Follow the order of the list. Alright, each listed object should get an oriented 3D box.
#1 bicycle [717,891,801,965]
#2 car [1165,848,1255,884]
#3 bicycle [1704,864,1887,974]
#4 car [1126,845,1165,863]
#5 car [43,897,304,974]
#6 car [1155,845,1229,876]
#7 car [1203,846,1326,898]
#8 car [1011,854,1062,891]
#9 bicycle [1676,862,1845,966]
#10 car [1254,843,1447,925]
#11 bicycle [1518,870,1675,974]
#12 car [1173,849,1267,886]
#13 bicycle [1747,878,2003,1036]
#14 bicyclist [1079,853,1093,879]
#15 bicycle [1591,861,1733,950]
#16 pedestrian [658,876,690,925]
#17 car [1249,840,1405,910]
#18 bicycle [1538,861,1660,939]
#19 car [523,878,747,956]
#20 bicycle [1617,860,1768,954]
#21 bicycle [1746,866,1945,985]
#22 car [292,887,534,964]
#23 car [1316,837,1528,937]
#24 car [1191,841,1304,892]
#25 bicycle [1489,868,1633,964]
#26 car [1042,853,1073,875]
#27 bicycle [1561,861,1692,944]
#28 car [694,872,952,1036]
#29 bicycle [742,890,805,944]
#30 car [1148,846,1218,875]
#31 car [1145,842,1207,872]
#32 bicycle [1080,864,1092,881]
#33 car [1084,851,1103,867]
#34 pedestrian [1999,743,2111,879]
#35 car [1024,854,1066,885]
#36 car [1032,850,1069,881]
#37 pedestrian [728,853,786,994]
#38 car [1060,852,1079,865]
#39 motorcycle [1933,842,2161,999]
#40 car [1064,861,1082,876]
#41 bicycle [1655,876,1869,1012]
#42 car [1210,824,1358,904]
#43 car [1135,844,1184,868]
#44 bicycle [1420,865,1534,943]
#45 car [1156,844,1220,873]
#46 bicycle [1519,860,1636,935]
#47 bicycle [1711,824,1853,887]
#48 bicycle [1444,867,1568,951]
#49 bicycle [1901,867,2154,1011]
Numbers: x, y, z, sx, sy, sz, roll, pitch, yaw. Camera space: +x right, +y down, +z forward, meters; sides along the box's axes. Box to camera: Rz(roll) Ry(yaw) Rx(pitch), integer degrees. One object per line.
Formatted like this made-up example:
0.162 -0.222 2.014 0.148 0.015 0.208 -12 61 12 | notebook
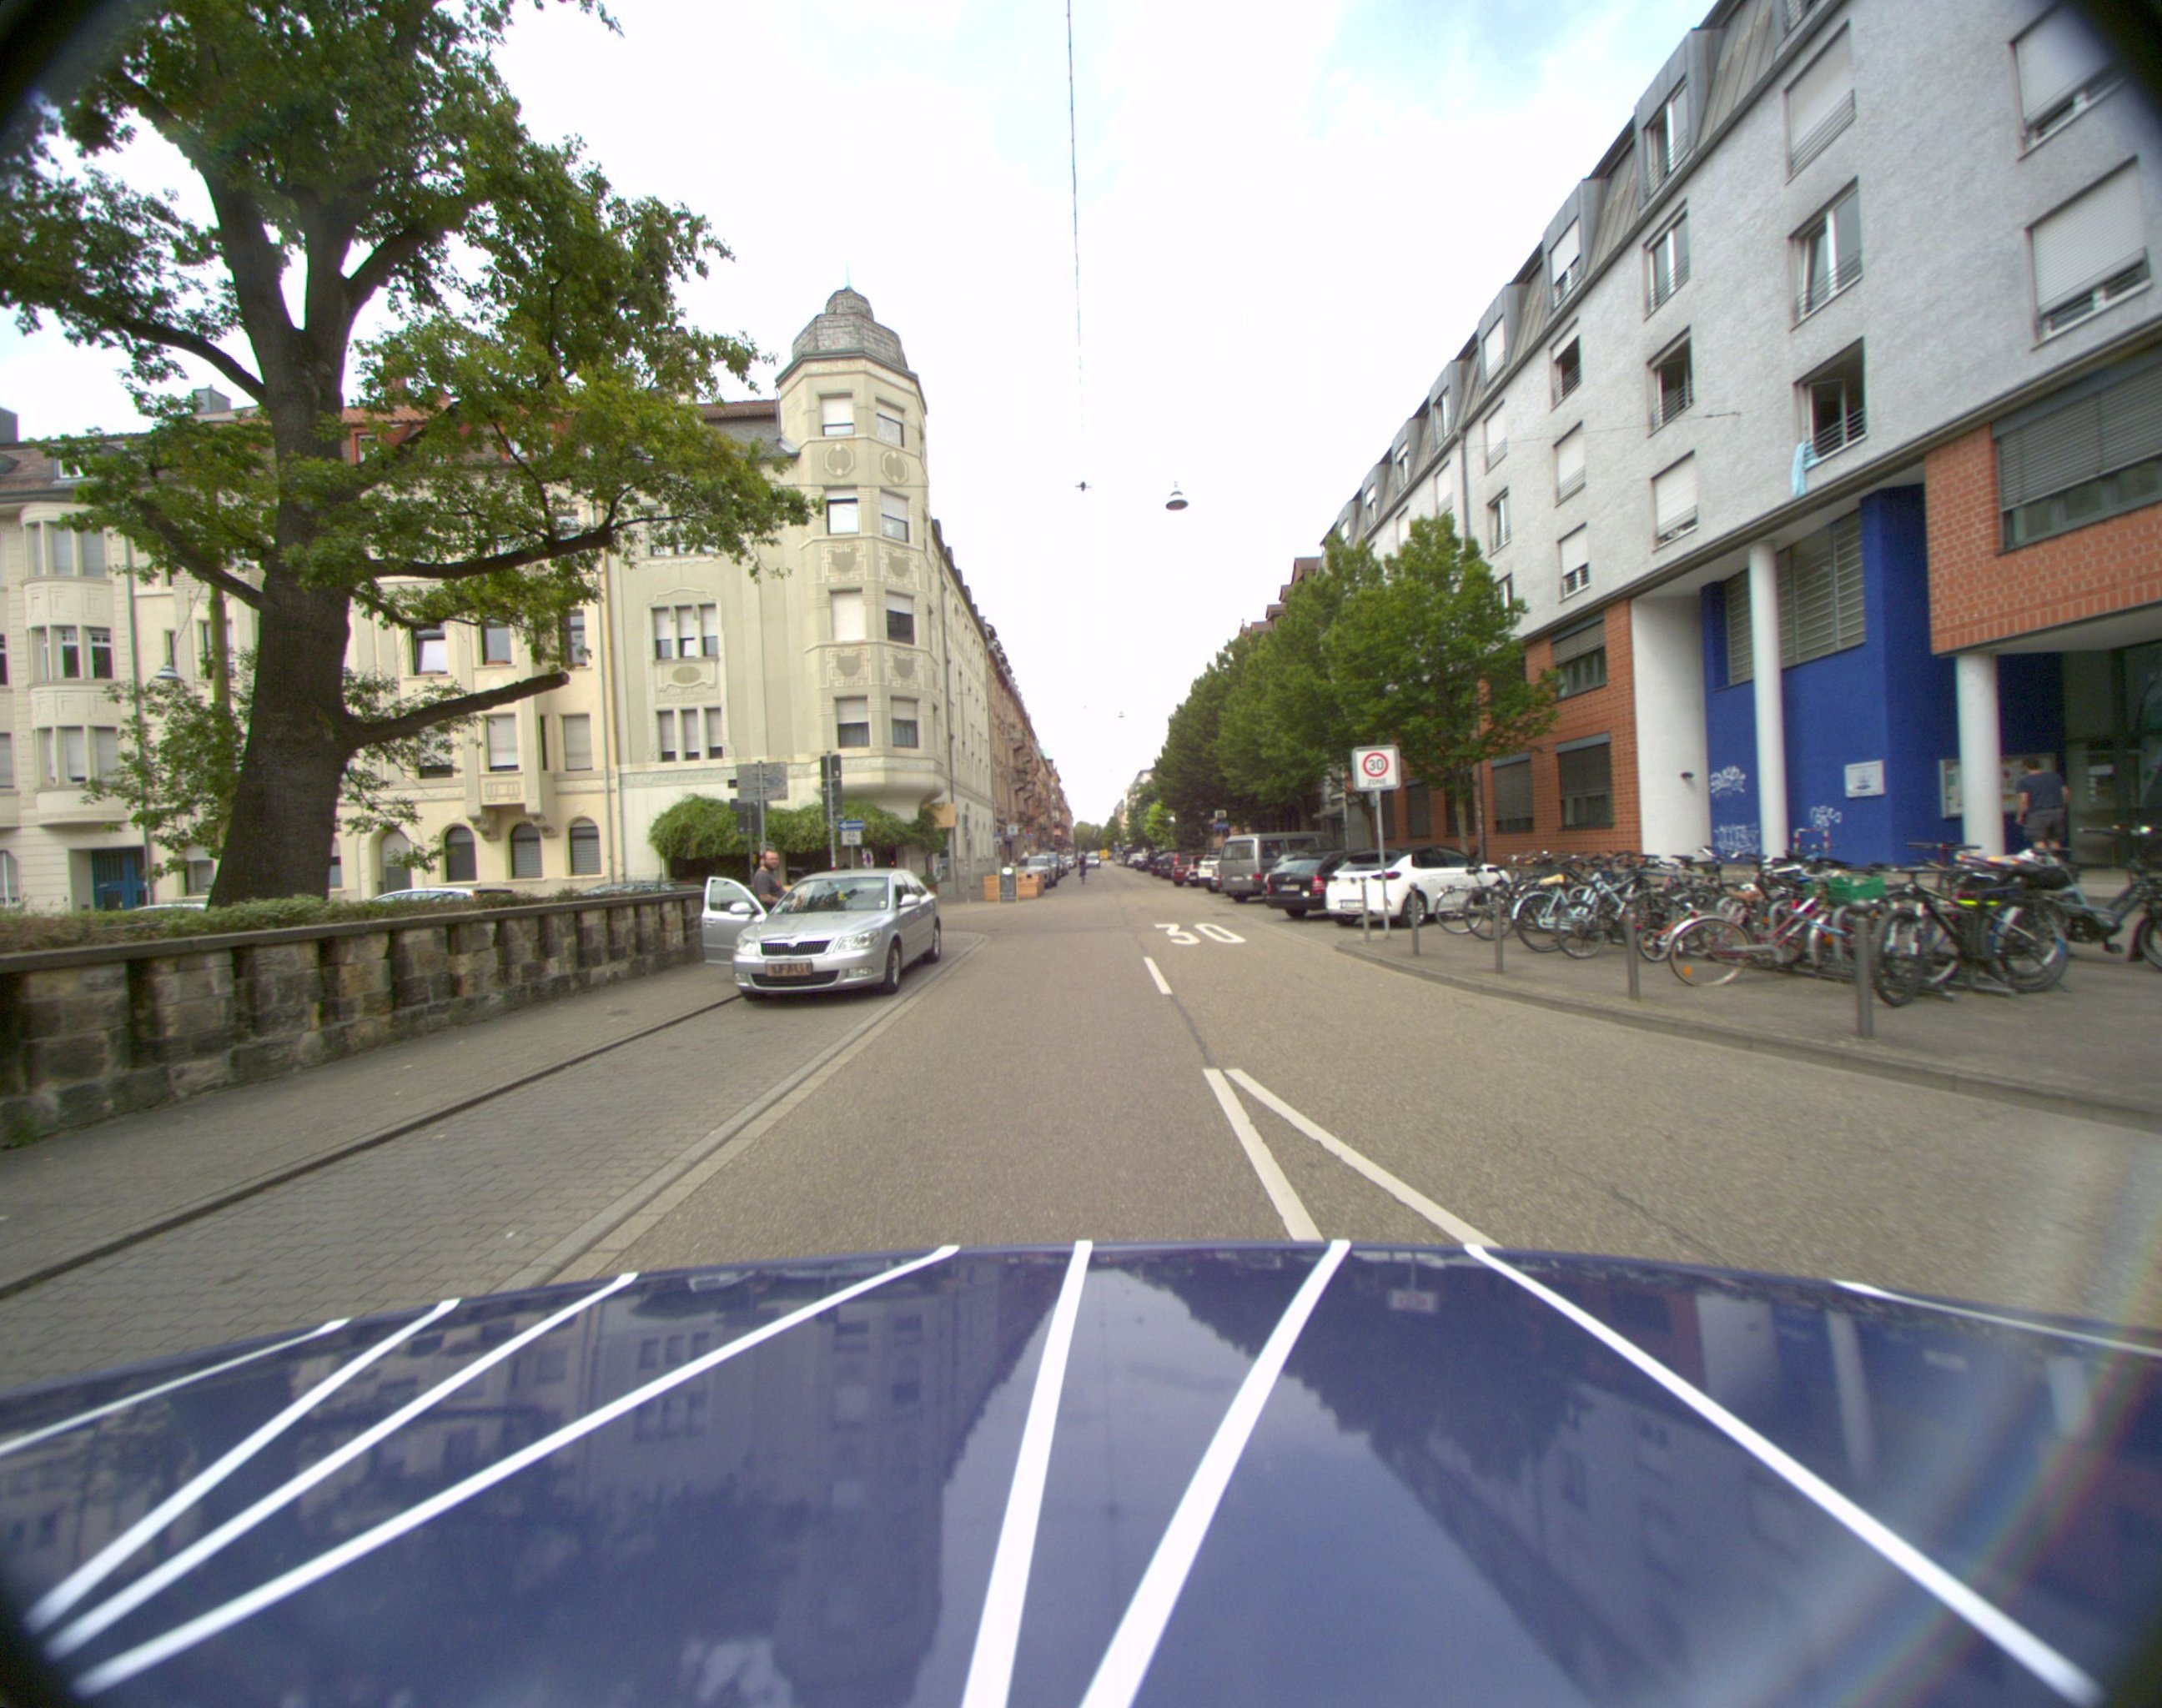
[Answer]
-5.587 1.252 13.319 0.523 1.099 1.978 -3 0 2 | bicycle
6.134 0.548 36.018 4.012 1.445 1.687 -3 0 -32 | car
7.330 0.658 7.822 1.409 1.020 0.402 -4 1 3 | bicycle
7.125 -0.025 84.358 4.012 1.746 1.687 -3 0 -32 | car
-21.111 1.867 17.788 4.033 1.526 1.849 -3 -2 3 | car
6.487 0.391 44.236 4.012 1.558 1.687 -3 0 -32 | car
6.202 0.584 25.575 4.012 1.438 1.621 -3 0 -32 | car
-2.164 0.867 37.959 1.853 1.661 4.007 -3 0 5 | car
7.402 0.646 8.307 1.409 1.020 0.402 -4 1 3 | bicycle
6.084 0.599 16.966 4.323 1.460 1.713 -3 1 -33 | car
5.870 0.768 8.686 1.409 1.032 0.402 -5 1 3 | bicycle
6.216 0.600 33.804 4.012 1.381 1.593 -3 0 -32 | car
6.011 0.768 5.789 1.409 1.032 0.402 -5 1 3 | bicycle
0.288 0.667 43.143 0.649 1.408 1.094 -3 1 2 | bicyclist
7.332 0.640 9.611 1.409 1.020 0.402 -4 1 3 | bicycle
-12.908 1.462 24.100 0.548 1.452 0.634 -3 4 2 | pedestrian
6.568 0.525 20.176 4.011 1.502 1.706 -4 0 -33 | car
7.407 0.652 10.895 1.409 1.020 0.402 -4 1 3 | bicycle
-10.044 1.404 17.279 4.031 1.460 1.910 -3 1 10 | car
7.326 0.629 9.125 1.409 1.020 0.402 -4 1 3 | bicycle
7.299 0.671 7.287 1.409 1.020 0.402 -4 1 3 | bicycle
-15.306 1.612 17.560 4.033 1.526 1.849 -3 -2 3 | car
6.565 0.554 14.535 4.011 1.536 1.599 -3 1 -30 | car
6.227 0.454 28.273 4.012 1.605 1.709 -3 0 -32 | car
5.874 0.748 9.328 1.409 1.020 0.402 -5 1 3 | bicycle
-1.780 0.738 58.638 1.853 1.568 4.007 -3 0 5 | car
7.378 0.646 10.304 1.409 1.020 0.402 -4 1 3 | bicycle
-2.948 1.047 9.787 1.759 1.460 4.418 -2 0 0 | car
-6.621 1.333 16.458 0.523 1.044 1.821 -3 -1 2 | bicycle
6.305 0.397 46.807 4.012 1.558 1.687 -3 0 -32 | car
6.649 0.234 53.129 4.051 1.847 1.687 -3 0 -32 | car
0.269 1.045 43.225 0.586 0.927 1.783 -3 0 2 | bicycle
1.570 0.604 94.986 1.942 1.913 4.007 -3 0 5 | car
15.061 -0.637 11.778 0.729 2.002 0.783 -2 1 20 | pedestrian
-2.072 0.872 45.174 1.853 1.661 4.007 -3 0 5 | car
-2.016 0.741 51.198 1.853 1.932 4.007 -3 0 5 | car
-4.105 0.865 9.642 0.468 1.725 0.410 -2 1 0 | pedestrian
-1.407 0.529 95.901 1.853 1.505 4.007 -3 0 5 | car
8.577 0.508 6.490 0.585 1.166 1.779 -4 0 3 | motorcycle
-0.876 1.655 87.690 1.853 1.505 4.006 -3 0 2 | car
5.959 0.778 6.683 1.409 1.032 0.402 -5 1 3 | bicycle
6.097 0.256 22.719 4.011 1.986 1.858 -5 2 -30 | car
6.862 0.138 66.250 4.012 1.847 1.687 -3 0 -32 | car
5.922 0.747 11.409 1.409 1.020 0.402 -5 1 3 | bicycle
7.160 0.302 50.650 4.012 1.672 1.687 -3 0 -32 | car
7.412 0.641 11.370 1.409 1.020 0.402 -4 1 3 | bicycle
13.013 0.025 14.176 1.613 0.920 0.932 -8 0 13 | bicycle
5.907 0.765 10.601 1.409 1.020 0.402 -5 1 3 | bicycle
7.487 0.657 6.040 1.409 1.020 0.402 -4 1 3 | bicycle
